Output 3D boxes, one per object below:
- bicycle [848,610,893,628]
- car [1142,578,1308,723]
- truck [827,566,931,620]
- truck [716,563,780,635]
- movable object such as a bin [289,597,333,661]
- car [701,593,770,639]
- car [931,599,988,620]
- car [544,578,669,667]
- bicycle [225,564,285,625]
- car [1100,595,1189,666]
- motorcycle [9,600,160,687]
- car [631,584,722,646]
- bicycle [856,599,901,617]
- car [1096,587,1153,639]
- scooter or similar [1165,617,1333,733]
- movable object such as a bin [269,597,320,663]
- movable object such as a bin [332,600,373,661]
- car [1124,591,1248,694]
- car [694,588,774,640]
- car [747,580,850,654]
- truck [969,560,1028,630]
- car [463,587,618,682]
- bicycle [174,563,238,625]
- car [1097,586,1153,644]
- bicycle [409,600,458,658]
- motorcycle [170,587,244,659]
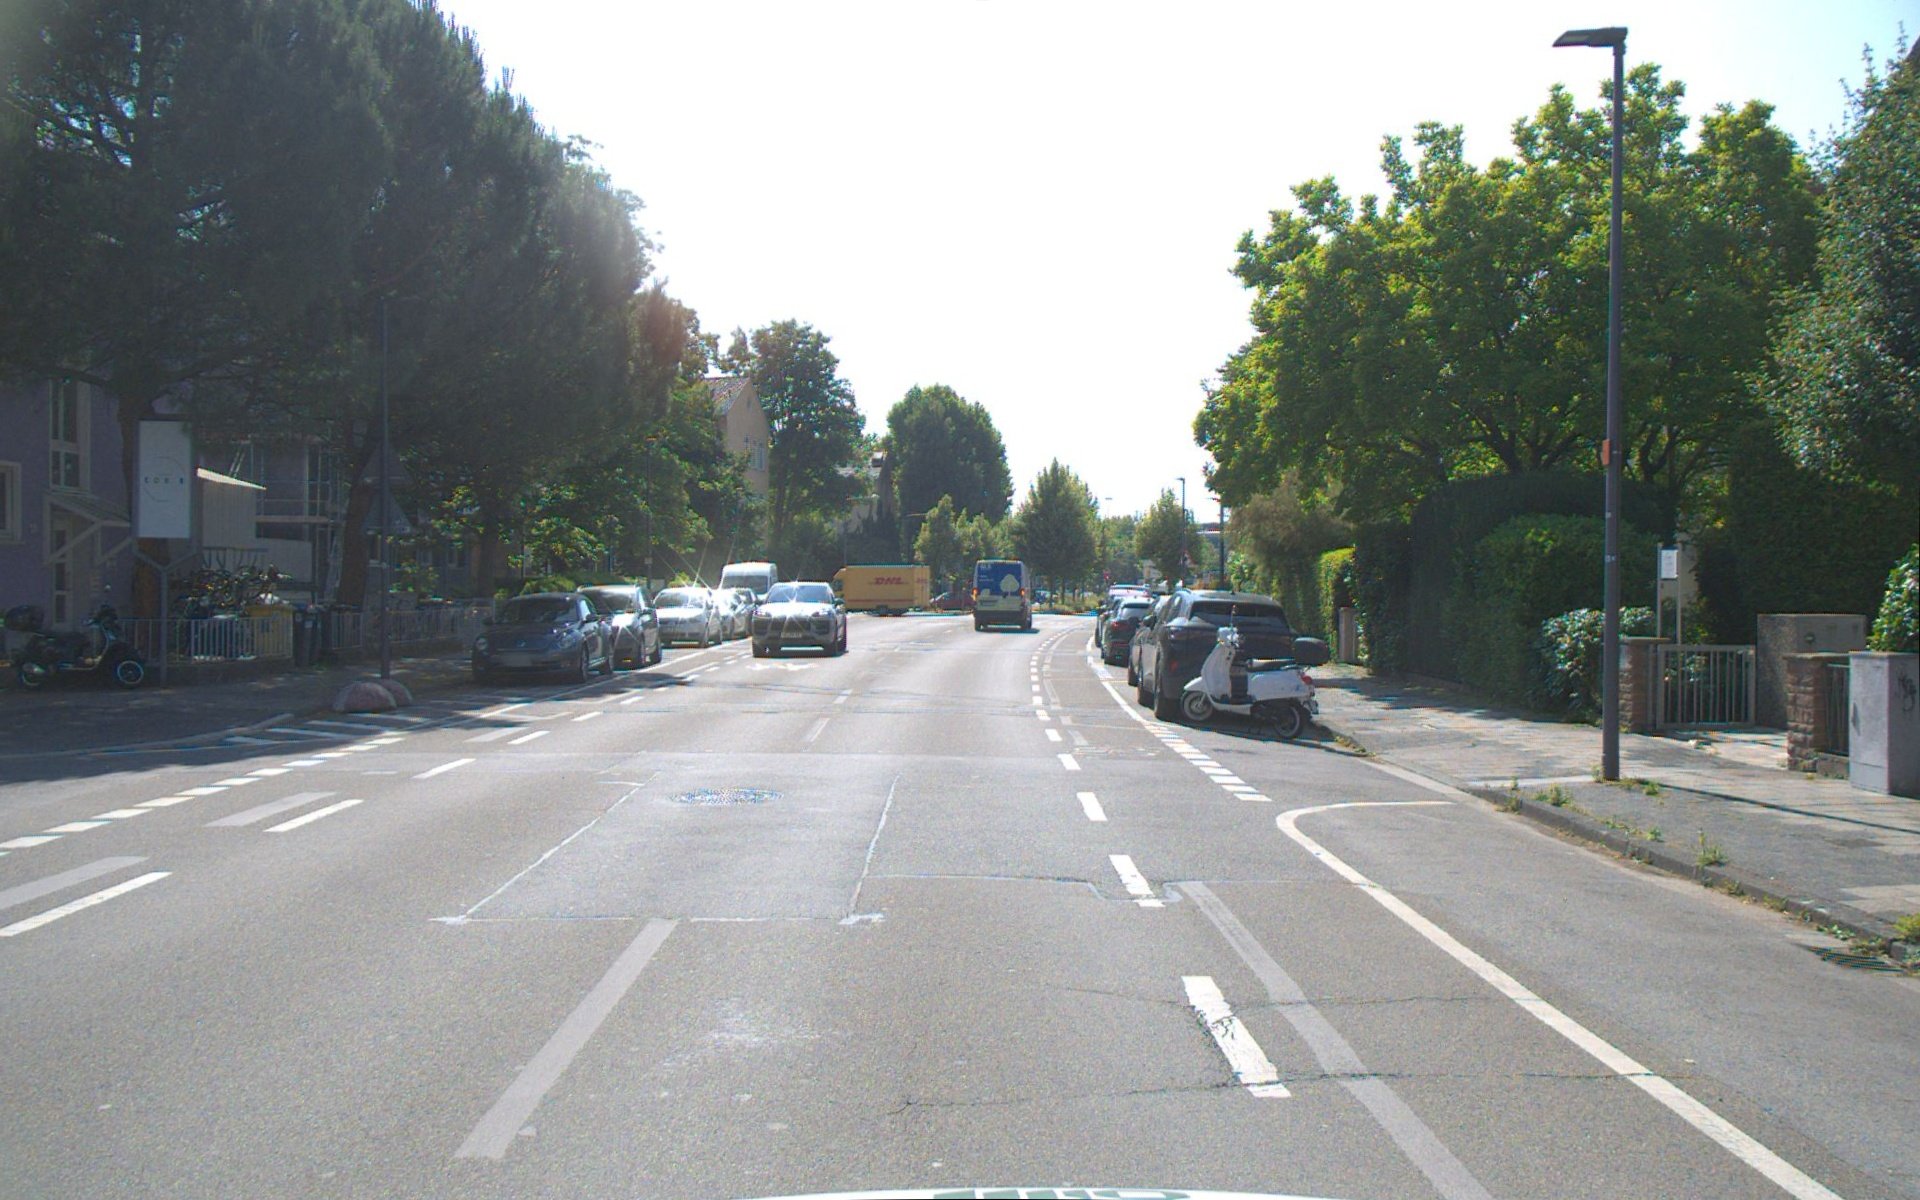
[{"bbox_3d":[-5.352,1.112,98.776,2.616,1.044,1.024,0,0,-10],"label":"bicycle"},{"bbox_3d":[3.411,0.589,21.995,1.747,1.666,4.473,2,0,4],"label":"car"},{"bbox_3d":[-4.613,-0.396,93.889,5.558,2.998,2.218,0,0,28],"label":"truck"},{"bbox_3d":[-7.929,-0.061,62.286,2.040,2.581,5.463,0,0,-4],"label":"truck"},{"bbox_3d":[-11.499,0.508,29.297,0.592,1.131,0.431,0,0,4],"label":"movable object such as a bin"},{"bbox_3d":[-7.622,0.517,56.432,1.718,1.522,3.655,0,0,2],"label":"car"},{"bbox_3d":[-0.010,0.696,119.367,3.914,1.516,1.625,0,0,-10],"label":"car"},{"bbox_3d":[-7.170,0.420,33.939,1.871,1.706,4.256,0,0,-3],"label":"car"},{"bbox_3d":[-14.333,-0.107,33.654,0.525,1.202,1.447,0,0,4],"label":"bicycle"},{"bbox_3d":[4.100,0.648,37.272,1.747,1.424,4.326,2,0,3],"label":"car"},{"bbox_3d":[-12.323,0.608,23.291,1.800,1.202,0.643,0,0,4],"label":"motorcycle"},{"bbox_3d":[-7.604,0.394,44.674,1.797,1.623,3.775,0,0,0],"label":"car"},{"bbox_3d":[-4.937,0.469,100.005,2.638,1.066,1.024,0,0,-10],"label":"bicycle"},{"bbox_3d":[5.590,0.428,56.581,1.665,1.706,3.776,0,0,2],"label":"car"},{"bbox_3d":[3.338,0.854,19.195,1.767,1.174,0.715,4,0,44],"label":"scooter or similar"},{"bbox_3d":[-11.551,0.516,28.728,0.592,1.131,0.663,0,0,4],"label":"movable object such as a bin"},{"bbox_3d":[-11.269,0.563,30.687,0.532,1.131,0.585,0,0,4],"label":"movable object such as a bin"},{"bbox_3d":[3.727,0.652,27.823,1.673,1.540,3.903,2,1,2],"label":"car"},{"bbox_3d":[-6.883,0.397,50.658,1.797,1.522,3.655,0,0,2],"label":"car"},{"bbox_3d":[-3.807,0.369,39.710,1.952,1.686,4.605,0,0,1],"label":"car"},{"bbox_3d":[1.530,-0.177,63.877,2.225,2.616,4.393,0,0,2],"label":"truck"},{"bbox_3d":[-7.070,0.531,28.274,1.745,1.485,4.084,-1,1,-2],"label":"car"},{"bbox_3d":[-15.205,-0.139,33.373,0.525,1.202,1.447,0,2,4],"label":"bicycle"},{"bbox_3d":[5.128,0.430,51.333,1.664,1.706,3.777,0,0,6],"label":"car"},{"bbox_3d":[-11.035,0.590,34.723,0.365,1.166,1.977,0,0,1],"label":"bicycle"},{"bbox_3d":[-13.026,0.389,28.649,0.525,1.202,1.447,0,0,4],"label":"motorcycle"}]
